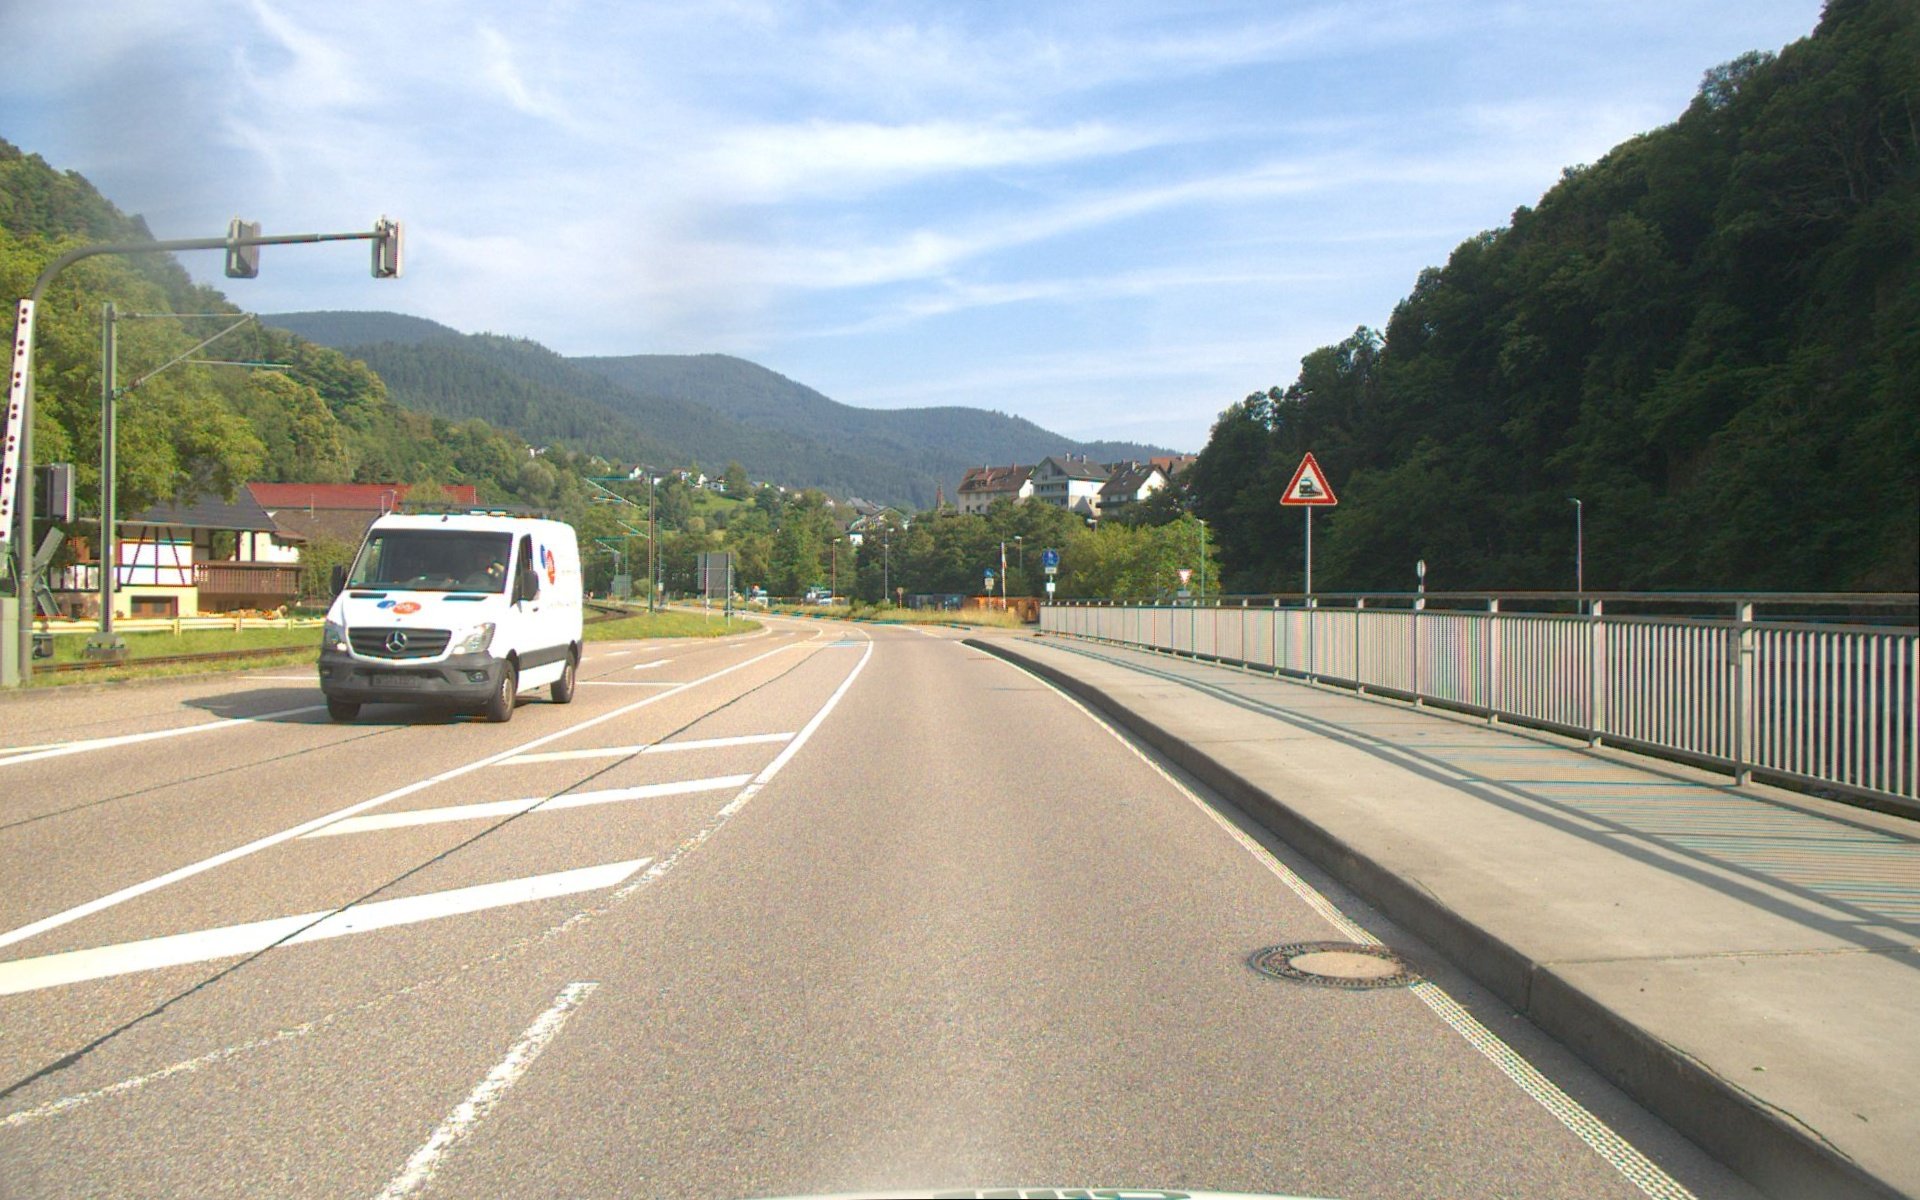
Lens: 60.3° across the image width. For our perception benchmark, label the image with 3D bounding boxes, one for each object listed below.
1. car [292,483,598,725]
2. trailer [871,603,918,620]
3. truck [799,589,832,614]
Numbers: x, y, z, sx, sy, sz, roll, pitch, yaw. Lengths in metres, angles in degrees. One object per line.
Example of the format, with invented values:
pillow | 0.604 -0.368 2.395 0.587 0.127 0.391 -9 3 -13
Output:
car | -5.944 0.018 19.869 2.076 2.479 5.227 1 0 -1
trailer | -6.550 1.134 164.087 2.744 1.500 9.852 2 0 -14
truck | -22.841 0.211 261.226 3.057 3.848 8.595 1 0 -20
